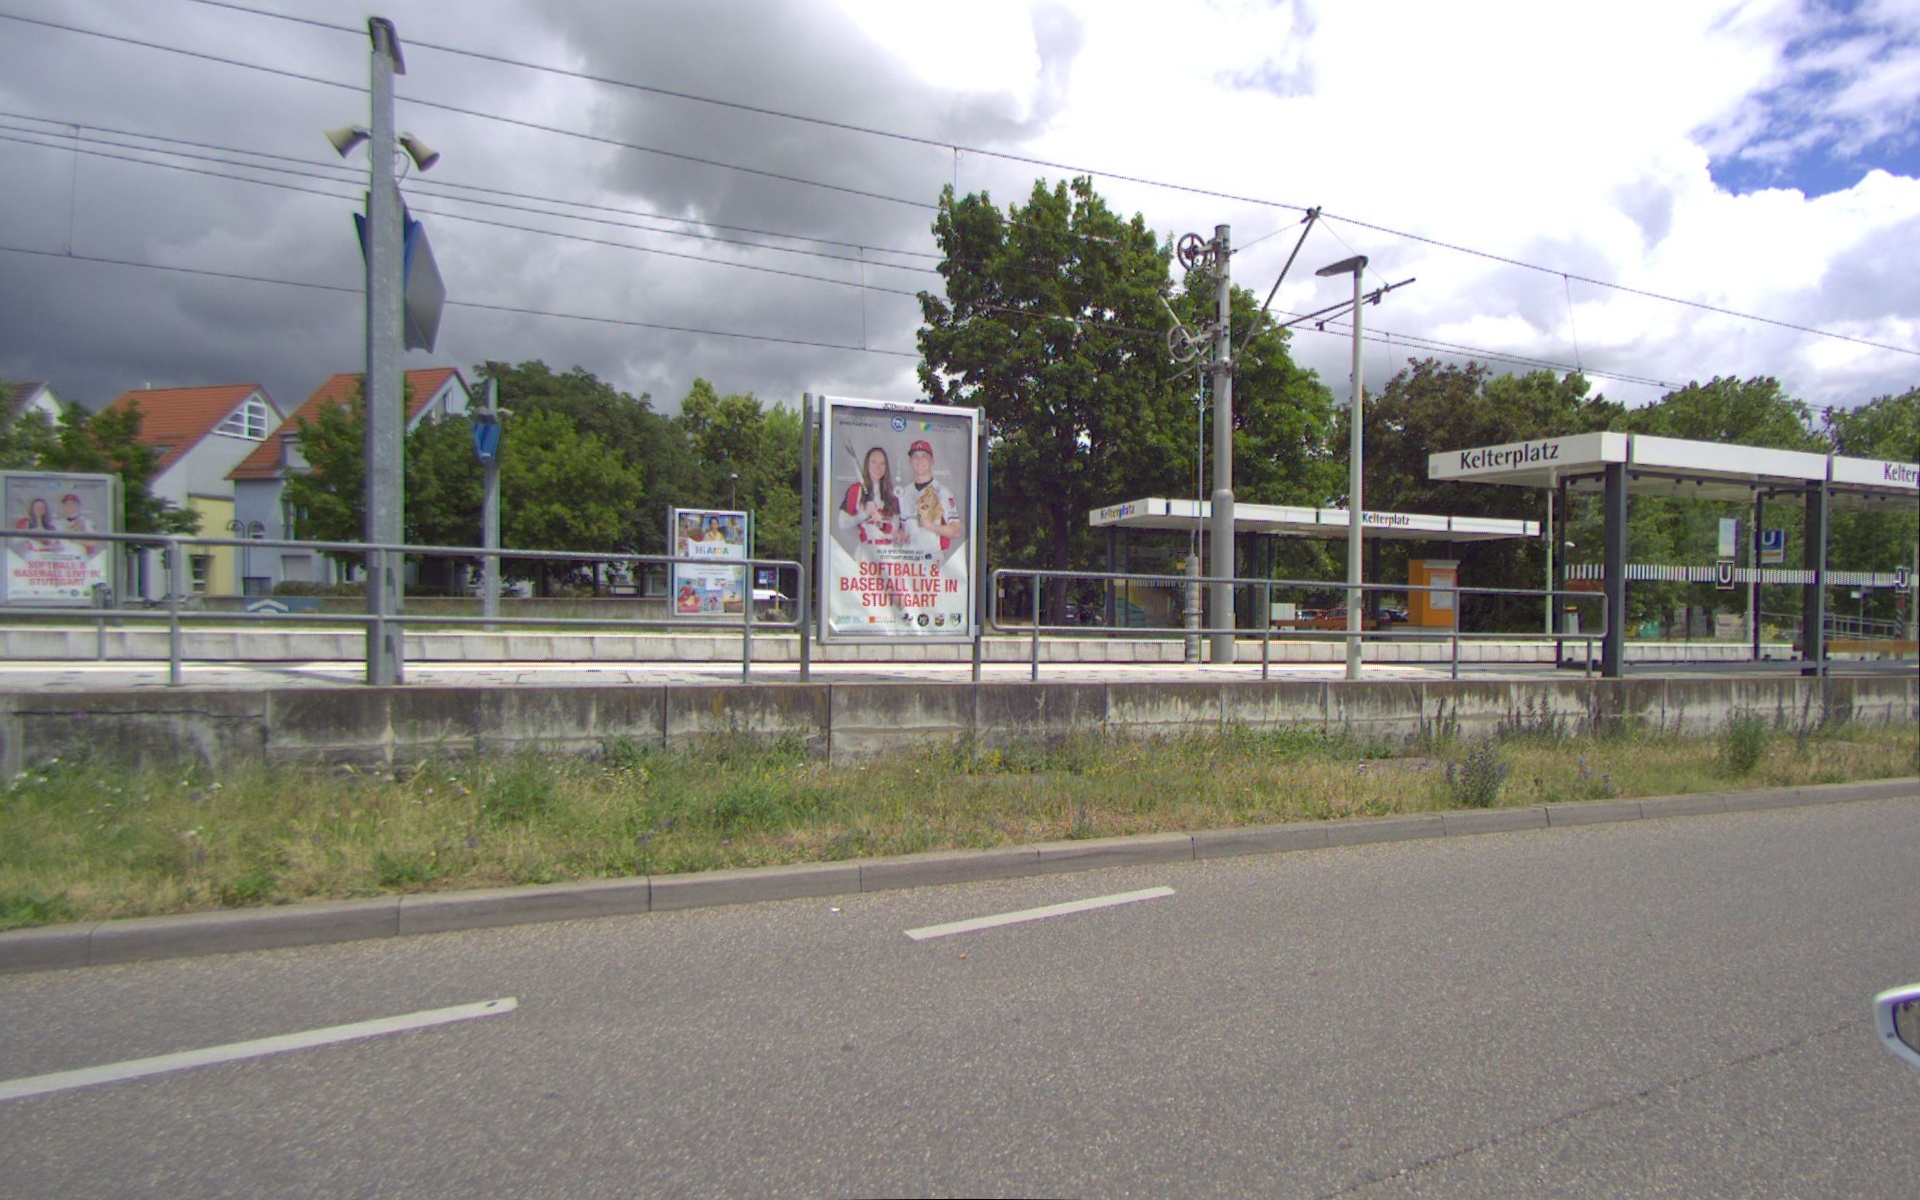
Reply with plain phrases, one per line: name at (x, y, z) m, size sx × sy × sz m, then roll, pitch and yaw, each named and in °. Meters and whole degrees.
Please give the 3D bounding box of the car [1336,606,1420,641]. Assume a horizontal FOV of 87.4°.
car at (22.346, 1.226, 53.860) m, size 1.946 × 1.707 × 3.978 m, roll 0°, pitch 1°, yaw -23°

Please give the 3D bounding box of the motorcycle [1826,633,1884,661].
motorcycle at (36.830, 1.929, 41.349) m, size 2.179 × 1.095 × 0.729 m, roll 1°, pitch 0°, yaw -16°

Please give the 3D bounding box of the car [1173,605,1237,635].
car at (15.183, 1.194, 62.477) m, size 2.154 × 1.751 × 3.986 m, roll 0°, pitch 1°, yaw -16°

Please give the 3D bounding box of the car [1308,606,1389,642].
car at (20.346, 1.223, 52.763) m, size 2.024 × 1.728 × 3.628 m, roll 0°, pitch 1°, yaw -23°

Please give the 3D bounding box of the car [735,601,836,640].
car at (-8.028, 0.897, 46.204) m, size 4.340 × 1.701 × 1.939 m, roll 0°, pitch 1°, yaw -21°

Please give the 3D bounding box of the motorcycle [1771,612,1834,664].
motorcycle at (33.753, 1.505, 40.253) m, size 1.946 × 2.040 × 0.835 m, roll 1°, pitch 0°, yaw -9°
